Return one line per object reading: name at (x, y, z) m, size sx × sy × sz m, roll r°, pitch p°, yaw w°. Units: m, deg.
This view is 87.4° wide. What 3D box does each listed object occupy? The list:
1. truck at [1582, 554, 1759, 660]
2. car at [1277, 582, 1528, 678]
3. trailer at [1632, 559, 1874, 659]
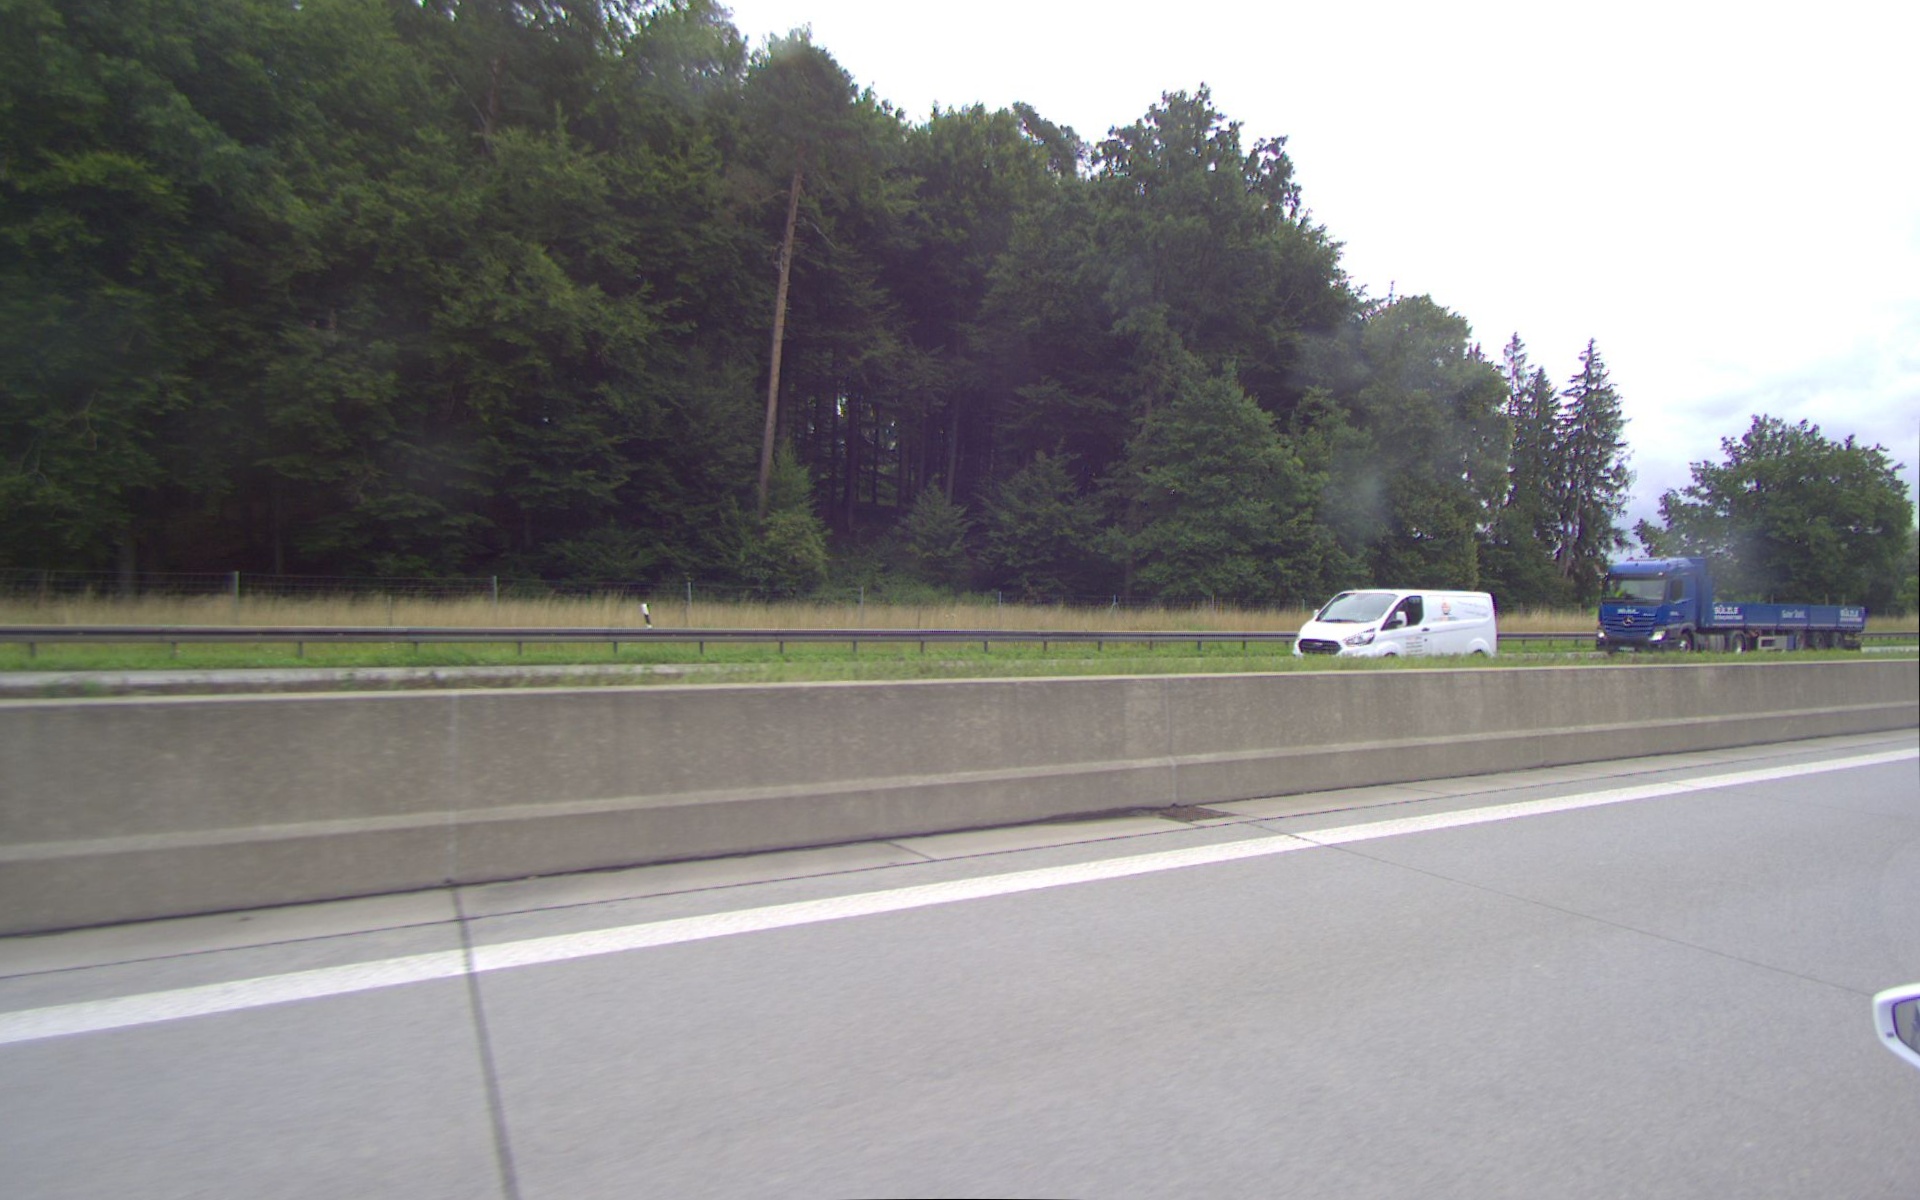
truck at (25.874, 0.302, 36.513) m, size 6.563 × 3.563 × 2.743 m, roll 2°, pitch 0°, yaw -30°
car at (9.438, 0.618, 21.299) m, size 5.433 × 1.825 × 2.078 m, roll 2°, pitch 0°, yaw -31°
trailer at (31.926, 0.473, 40.105) m, size 13.723 × 3.554 × 2.772 m, roll 2°, pitch 0°, yaw -31°
